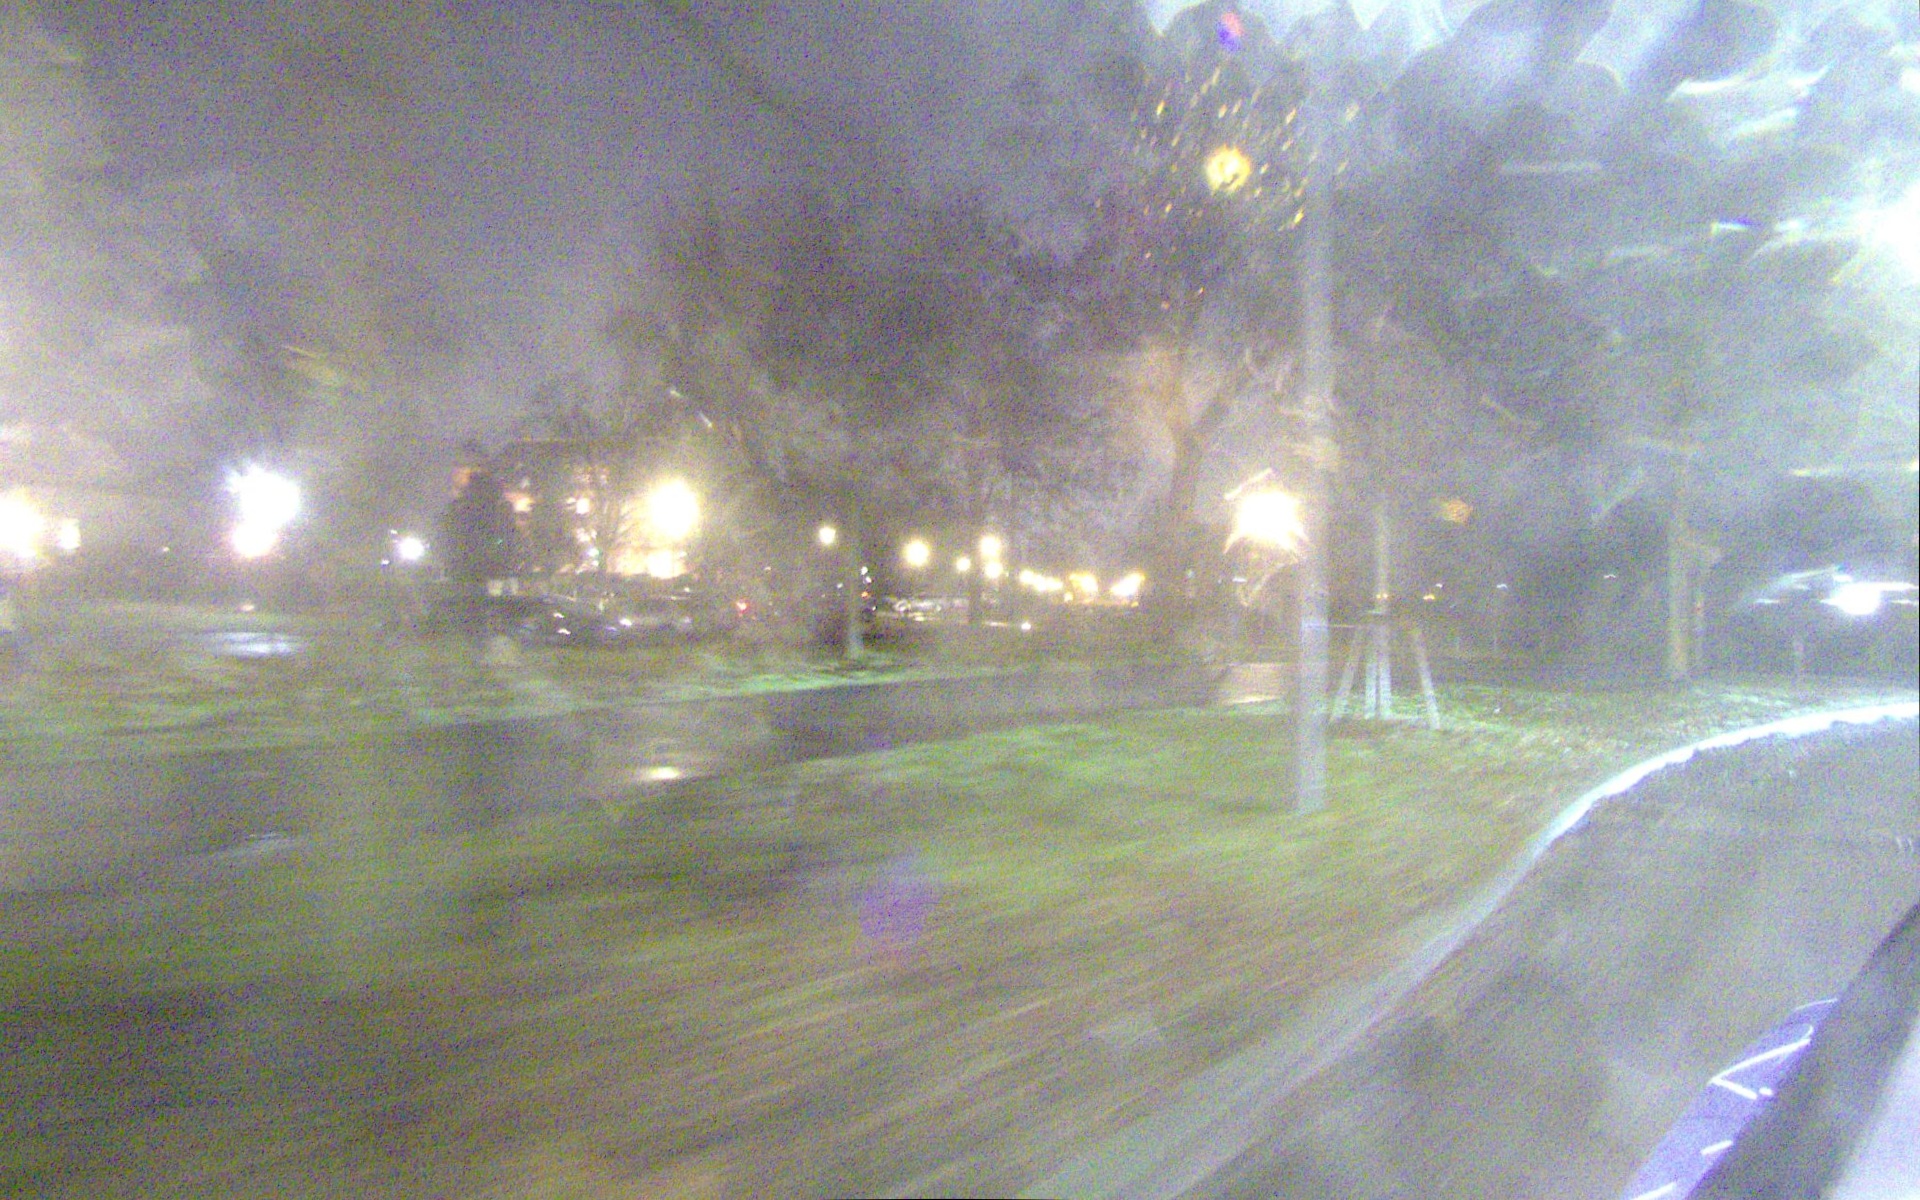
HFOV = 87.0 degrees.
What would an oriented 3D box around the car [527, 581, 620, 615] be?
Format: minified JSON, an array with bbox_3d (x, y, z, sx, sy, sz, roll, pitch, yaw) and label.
[{"bbox_3d":[-18.614,-0.076,48.776,3.847,1.556,1.717,1,-1,9],"label":"car"}]

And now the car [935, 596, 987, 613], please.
[{"bbox_3d":[0.114,0.452,98.414,4.913,1.556,1.717,1,-1,9],"label":"car"}]

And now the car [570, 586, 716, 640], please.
[{"bbox_3d":[-9.513,0.391,30.496,3.847,1.516,1.717,1,-1,9],"label":"car"}]

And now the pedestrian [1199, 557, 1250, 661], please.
[{"bbox_3d":[5.003,0.166,19.154,0.714,1.926,0.655,1,-1,-8],"label":"pedestrian"}]

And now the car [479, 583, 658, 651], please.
[{"bbox_3d":[-9.830,0.428,25.509,3.847,1.516,1.717,-2,0,9],"label":"car"}]

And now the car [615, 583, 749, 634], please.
[{"bbox_3d":[-9.058,0.280,33.137,3.847,1.556,1.717,1,-1,9],"label":"car"}]

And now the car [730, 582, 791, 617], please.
[{"bbox_3d":[-10.350,-0.009,52.776,1.764,1.703,4.054,1,-1,11],"label":"car"}]

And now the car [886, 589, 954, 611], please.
[{"bbox_3d":[-3.016,-0.004,76.376,4.913,1.556,1.717,1,-1,9],"label":"car"}]

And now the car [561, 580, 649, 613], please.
[{"bbox_3d":[-17.843,-0.172,50.913,3.847,1.556,1.717,1,-1,9],"label":"car"}]

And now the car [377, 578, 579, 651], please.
[{"bbox_3d":[-10.895,0.310,22.978,3.847,1.516,1.717,1,-1,9],"label":"car"}]

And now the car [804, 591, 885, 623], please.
[{"bbox_3d":[-5.962,0.362,52.348,3.847,1.556,1.717,1,-1,9],"label":"car"}]
